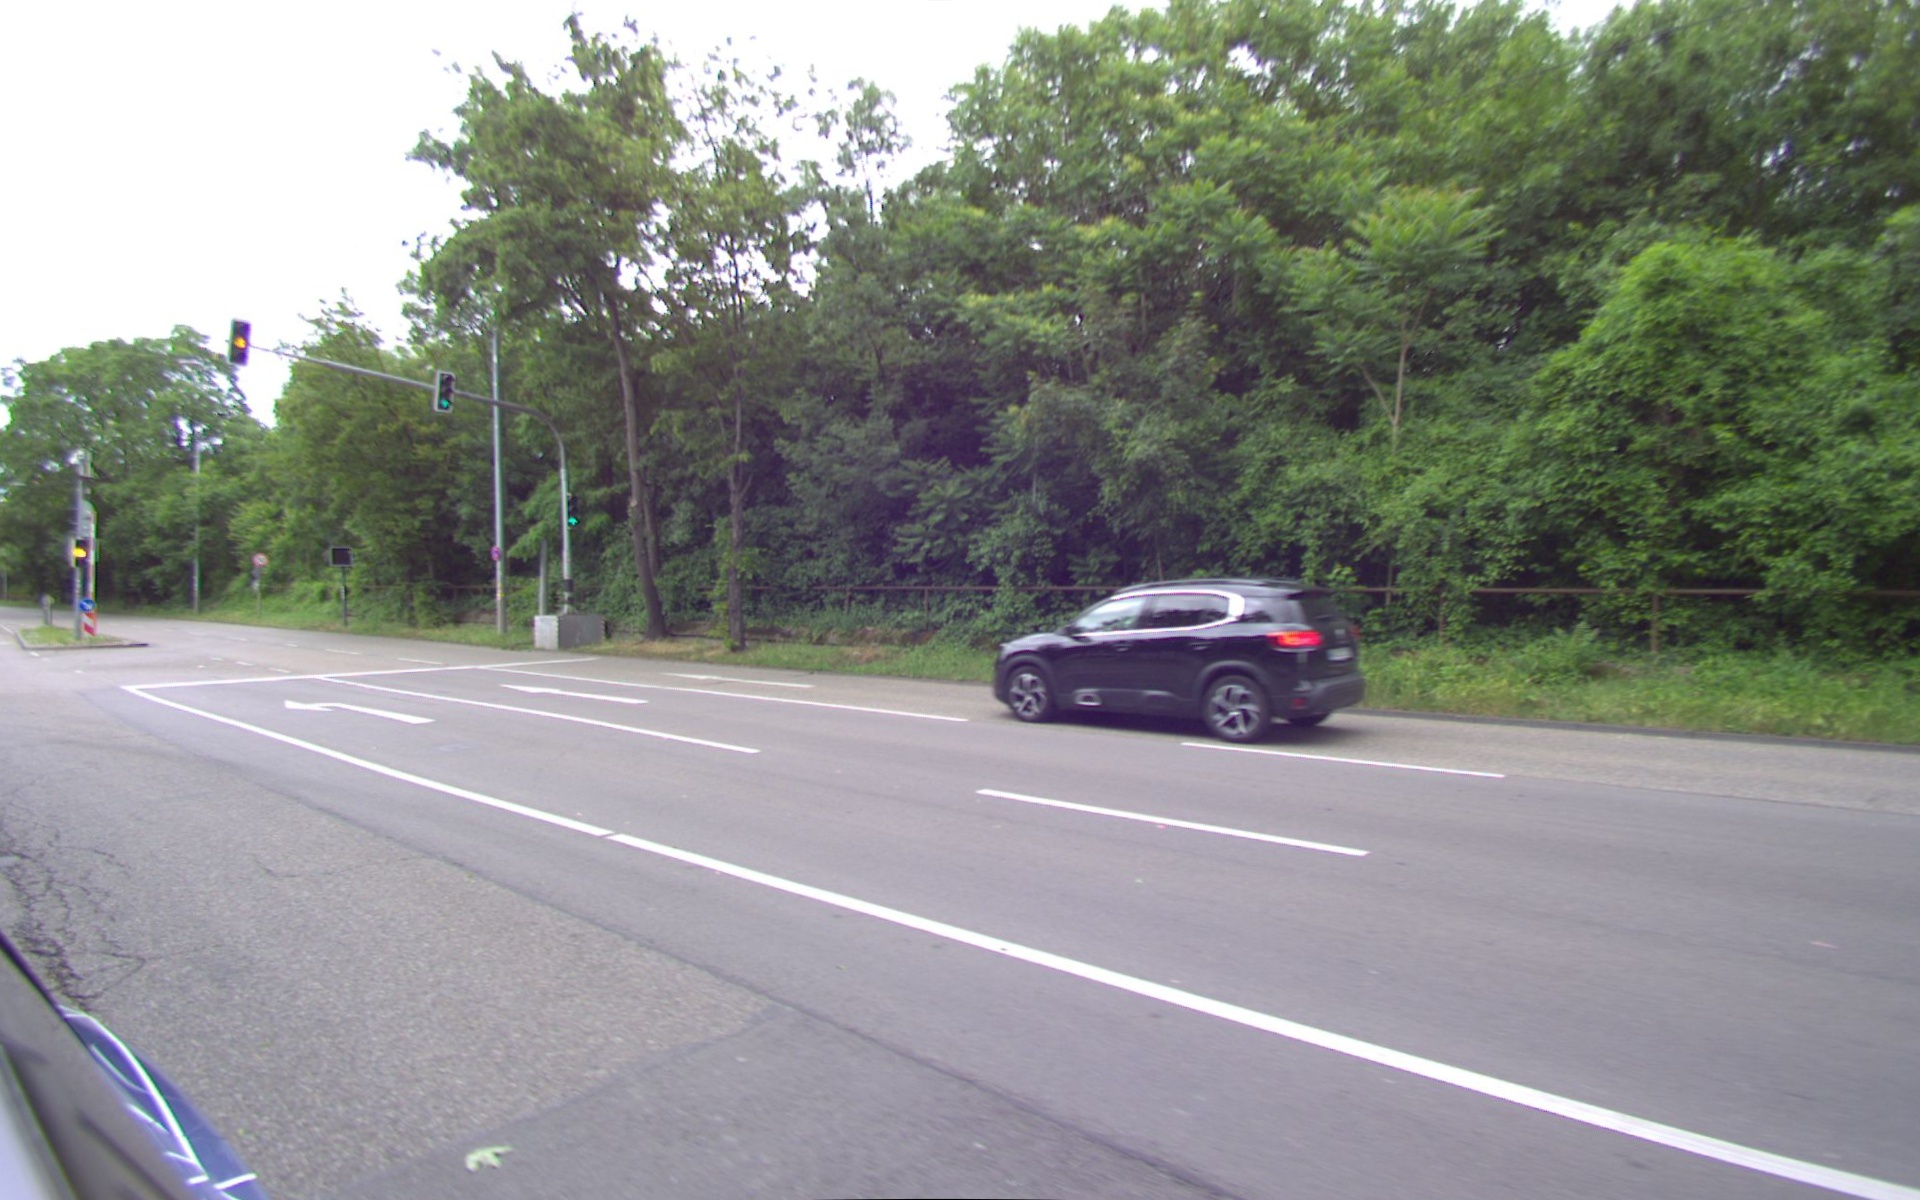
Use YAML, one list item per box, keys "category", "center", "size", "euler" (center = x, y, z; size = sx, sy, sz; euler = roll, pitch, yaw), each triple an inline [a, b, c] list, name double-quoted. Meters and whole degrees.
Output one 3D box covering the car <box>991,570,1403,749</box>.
- category: "car"
  center: [2.543, 0.551, 11.519]
  size: [4.221, 1.666, 1.802]
  euler: [-1, 1, 43]
